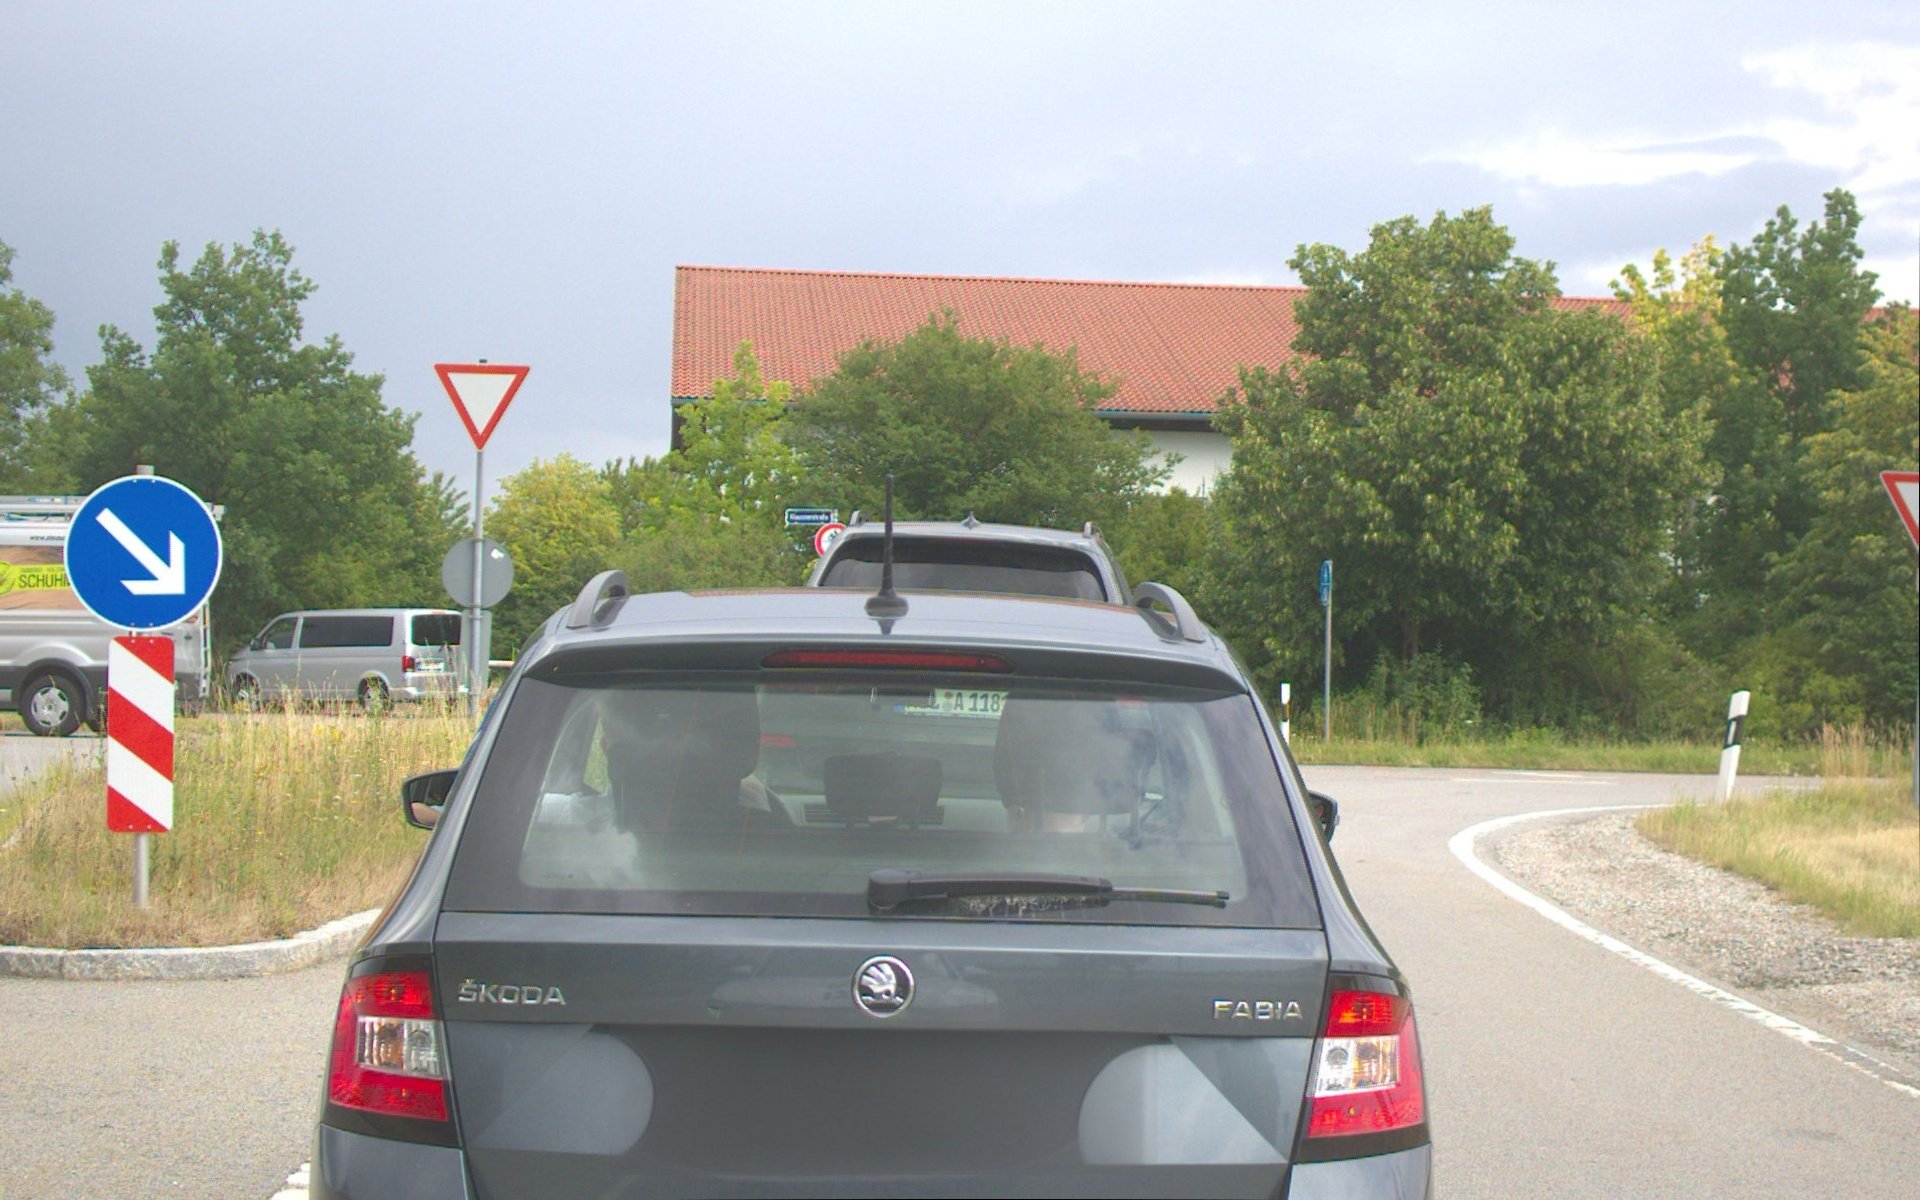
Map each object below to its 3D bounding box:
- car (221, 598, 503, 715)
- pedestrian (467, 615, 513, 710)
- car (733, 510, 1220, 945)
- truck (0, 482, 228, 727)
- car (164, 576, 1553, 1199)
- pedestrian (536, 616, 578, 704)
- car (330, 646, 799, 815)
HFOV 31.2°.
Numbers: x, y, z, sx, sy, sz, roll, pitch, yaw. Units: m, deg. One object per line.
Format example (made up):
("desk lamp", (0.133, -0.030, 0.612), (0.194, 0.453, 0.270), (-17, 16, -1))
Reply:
("car", (-11.095, 1.013, 63.730), (4.908, 2.007, 2.337), (1, 1, 35))
("pedestrian", (-8.678, 1.147, 63.445), (0.529, 1.720, 0.640), (1, 0, 34))
("car", (0.117, 0.576, 16.765), (1.993, 1.768, 4.643), (2, -1, 1))
("truck", (-11.663, 0.005, 39.438), (6.026, 2.694, 2.065), (1, 0, 9))
("car", (-0.149, 0.702, 6.033), (1.676, 1.458, 3.708), (1, 0, -1))
("pedestrian", (-7.832, 1.158, 66.814), (0.584, 1.677, 0.565), (1, 0, 22))
("car", (-3.705, 1.158, 31.782), (4.351, 1.340, 1.678), (1, 0, 38))
